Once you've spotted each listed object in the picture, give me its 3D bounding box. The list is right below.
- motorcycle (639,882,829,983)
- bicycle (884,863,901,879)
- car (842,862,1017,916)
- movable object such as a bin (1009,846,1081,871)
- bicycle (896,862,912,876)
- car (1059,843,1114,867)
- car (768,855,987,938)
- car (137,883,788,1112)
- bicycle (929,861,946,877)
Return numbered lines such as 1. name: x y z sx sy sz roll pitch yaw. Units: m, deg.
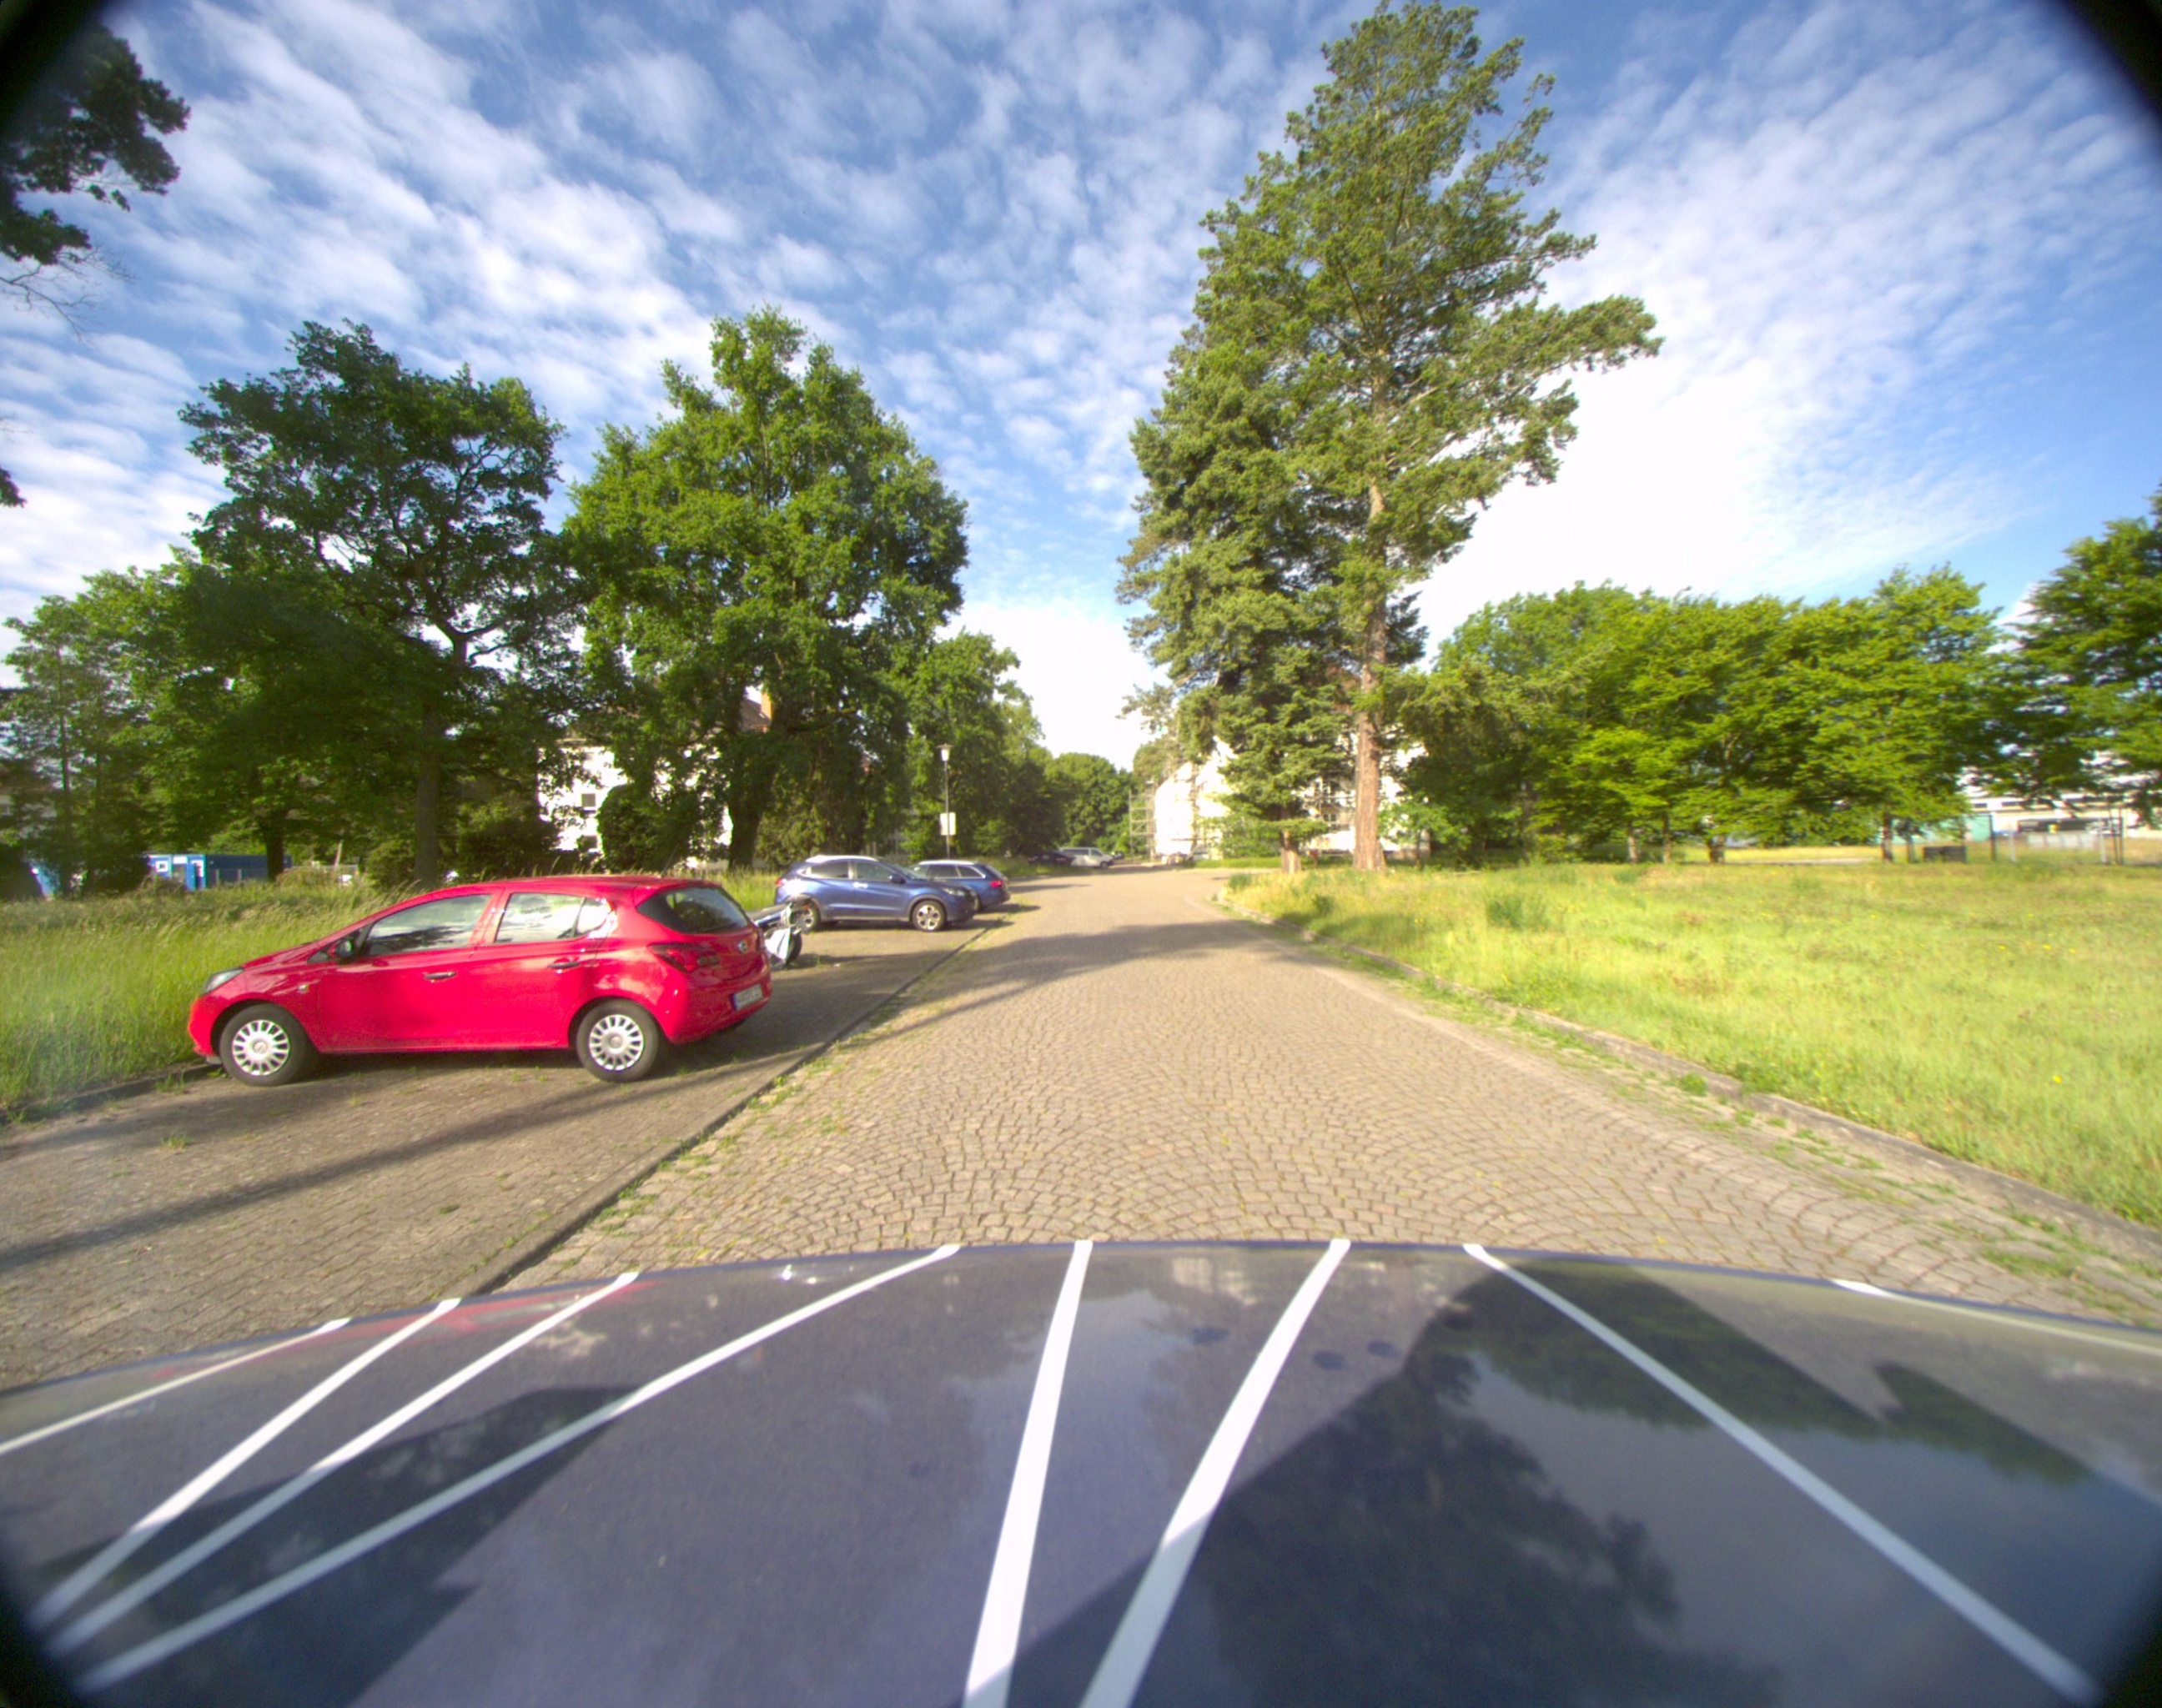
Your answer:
1. motorcycle: -4.815 1.078 10.653 2.305 1.312 0.726 -1 1 0
2. bicycle: -12.511 1.136 50.478 0.710 1.010 1.028 -1 1 8
3. car: -4.129 0.947 21.080 4.459 1.400 1.714 0 1 4
4. movable object such as a bin: -2.690 0.350 56.926 4.931 1.749 2.002 -1 1 16
5. bicycle: -12.730 1.067 54.602 0.712 1.010 1.024 -2 1 -36
6. car: 0.541 0.076 69.826 4.936 2.002 2.000 -2 1 1
7. car: -4.271 0.876 16.390 4.187 1.582 1.751 -2 1 0
8. car: -4.606 1.026 6.106 3.837 1.470 1.645 -1 1 0
9. bicycle: -9.378 1.000 49.759 0.710 1.010 1.257 -1 1 8
